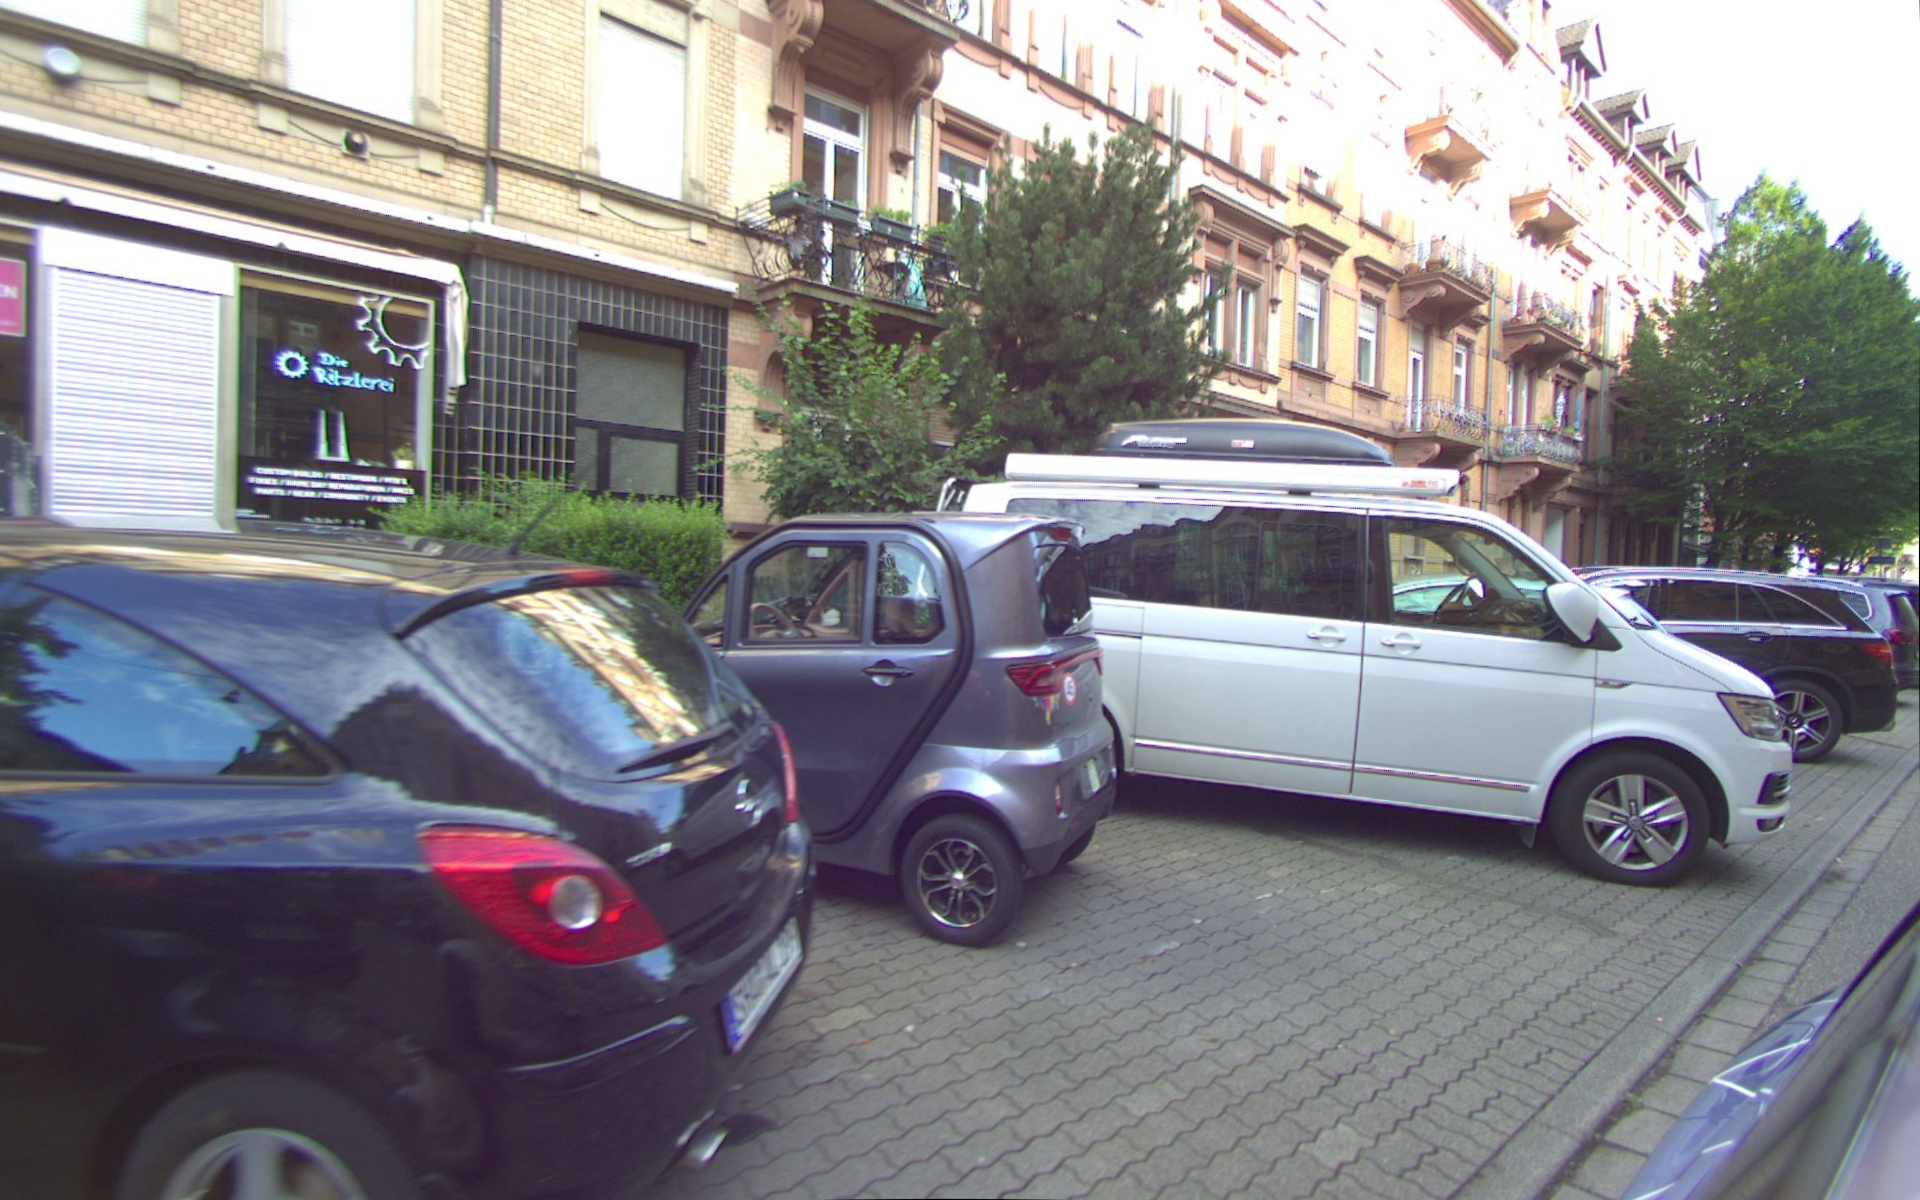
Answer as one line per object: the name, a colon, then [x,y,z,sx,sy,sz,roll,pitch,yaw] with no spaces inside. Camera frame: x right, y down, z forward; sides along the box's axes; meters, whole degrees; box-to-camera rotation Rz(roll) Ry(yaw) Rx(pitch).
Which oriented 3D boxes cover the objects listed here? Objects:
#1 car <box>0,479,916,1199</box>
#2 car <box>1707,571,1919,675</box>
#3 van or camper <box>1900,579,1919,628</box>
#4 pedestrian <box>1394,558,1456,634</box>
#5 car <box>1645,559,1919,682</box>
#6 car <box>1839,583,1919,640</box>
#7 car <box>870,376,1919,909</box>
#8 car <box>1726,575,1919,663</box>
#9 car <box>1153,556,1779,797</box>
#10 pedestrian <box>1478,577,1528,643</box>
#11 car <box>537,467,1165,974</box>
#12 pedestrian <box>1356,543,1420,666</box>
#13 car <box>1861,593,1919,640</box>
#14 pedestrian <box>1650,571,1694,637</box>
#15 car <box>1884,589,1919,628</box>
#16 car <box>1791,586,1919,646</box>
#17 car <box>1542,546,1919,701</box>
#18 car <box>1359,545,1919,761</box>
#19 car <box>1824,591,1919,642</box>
car: [-2.223,0.468,2.643,3.927,1.477,1.748,3,2,8]
car: [17.176,0.413,19.527,3.948,1.762,1.829,4,2,18]
van or camper: [45.016,0.193,45.169,3.948,2.206,1.988,1,1,19]
pedestrian: [9.736,-0.088,21.193,0.927,1.515,0.800,4,2,42]
car: [15.075,0.320,17.981,4.345,1.844,1.746,4,3,17]
car: [31.341,0.415,32.692,3.942,1.720,1.845,3,1,14]
car: [2.195,0.036,6.244,5.088,2.434,1.909,3,2,16]
car: [18.961,0.412,21.335,3.939,1.567,1.863,4,3,12]
car: [3.775,0.496,8.346,4.175,1.569,1.865,2,0,14]
pedestrian: [10.703,0.186,19.949,0.662,1.233,0.601,1,4,-42]
car: [-0.465,0.365,4.670,2.442,1.686,1.337,6,2,23]
pedestrian: [6.153,0.061,14.566,0.637,1.716,0.698,1,0,5]
car: [33.588,0.576,34.342,4.062,1.539,1.838,1,2,13]
pedestrian: [18.658,0.087,26.530,0.819,1.653,0.732,-1,4,-44]
car: [43.200,0.496,43.444,4.743,1.562,1.861,4,3,17]
car: [26.716,0.498,28.607,4.550,1.469,1.784,4,3,17]
car: [11.813,0.259,15.447,1.779,1.806,4.646,3,3,-42]
car: [6.438,0.410,9.932,4.392,1.754,1.991,2,1,14]
car: [29.242,0.532,30.718,4.077,1.435,1.861,3,1,14]
